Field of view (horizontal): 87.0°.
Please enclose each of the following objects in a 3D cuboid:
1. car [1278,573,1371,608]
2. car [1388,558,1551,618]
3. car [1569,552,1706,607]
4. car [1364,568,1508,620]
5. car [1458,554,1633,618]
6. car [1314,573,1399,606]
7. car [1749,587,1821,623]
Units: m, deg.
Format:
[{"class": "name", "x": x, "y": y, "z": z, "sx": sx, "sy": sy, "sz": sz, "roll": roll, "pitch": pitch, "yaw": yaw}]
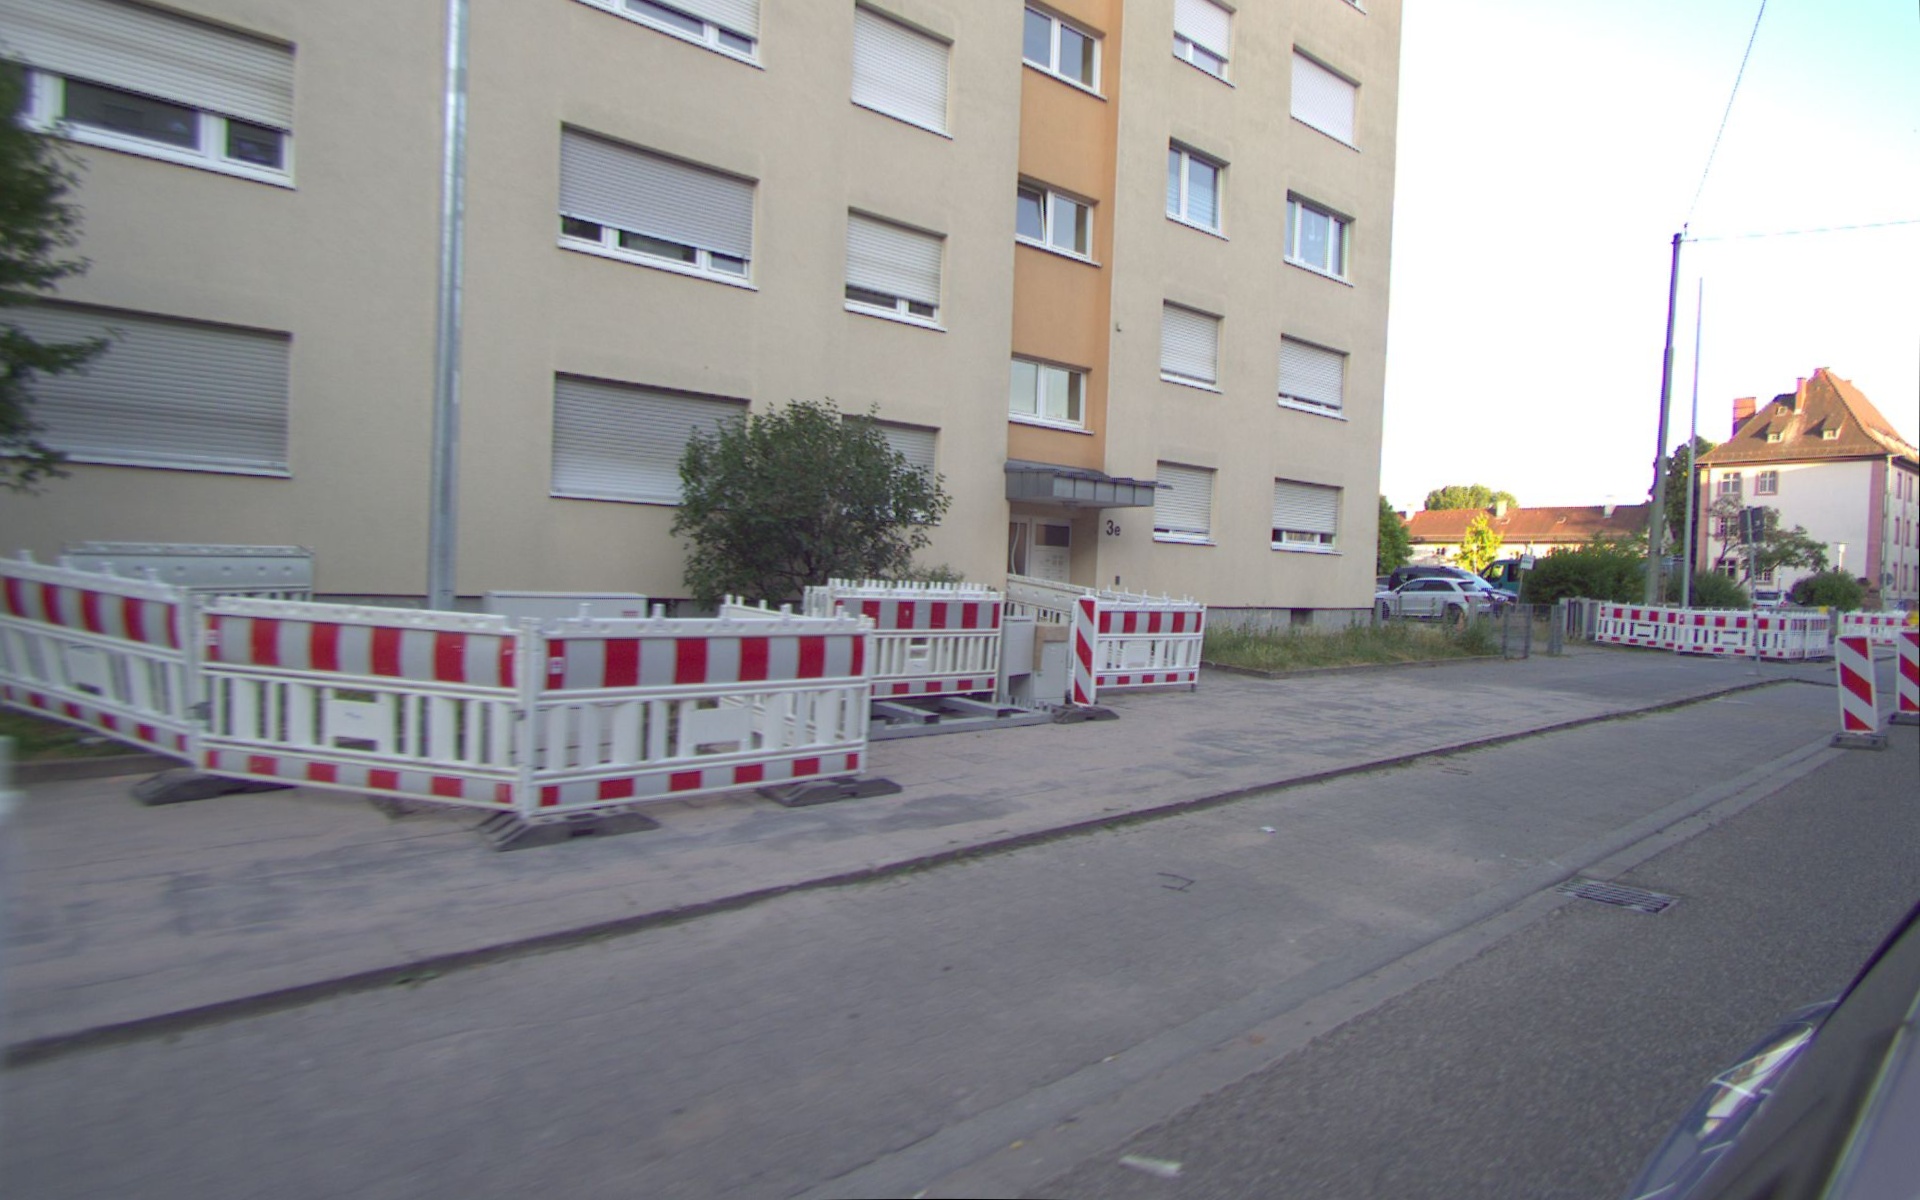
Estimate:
[{"class": "car", "x": 18.133, "y": -0.479, "z": 50.544, "sx": 1.962, "sy": 1.536, "sz": 3.933, "roll": 1, "pitch": 2, "yaw": -35}, {"class": "car", "x": 17.251, "y": -0.448, "z": 34.458, "sx": 1.968, "sy": 1.832, "sz": 4.492, "roll": 1, "pitch": 2, "yaw": -38}, {"class": "car", "x": 28.975, "y": -0.897, "z": 43.389, "sx": 1.962, "sy": 2.224, "sz": 4.438, "roll": 1, "pitch": 1, "yaw": -36}, {"class": "car", "x": 15.317, "y": -0.218, "z": 32.695, "sx": 1.664, "sy": 1.470, "sz": 3.841, "roll": 1, "pitch": 2, "yaw": -38}, {"class": "car", "x": 21.366, "y": -0.543, "z": 37.155, "sx": 2.245, "sy": 2.156, "sz": 5.041, "roll": 1, "pitch": 1, "yaw": -33}, {"class": "car", "x": 20.388, "y": -0.566, "z": 52.167, "sx": 1.791, "sy": 1.536, "sz": 3.736, "roll": 1, "pitch": 2, "yaw": -31}, {"class": "car", "x": 41.085, "y": 0.248, "z": 50.360, "sx": 4.722, "sy": 1.650, "sz": 1.919, "roll": 1, "pitch": 1, "yaw": -40}]
